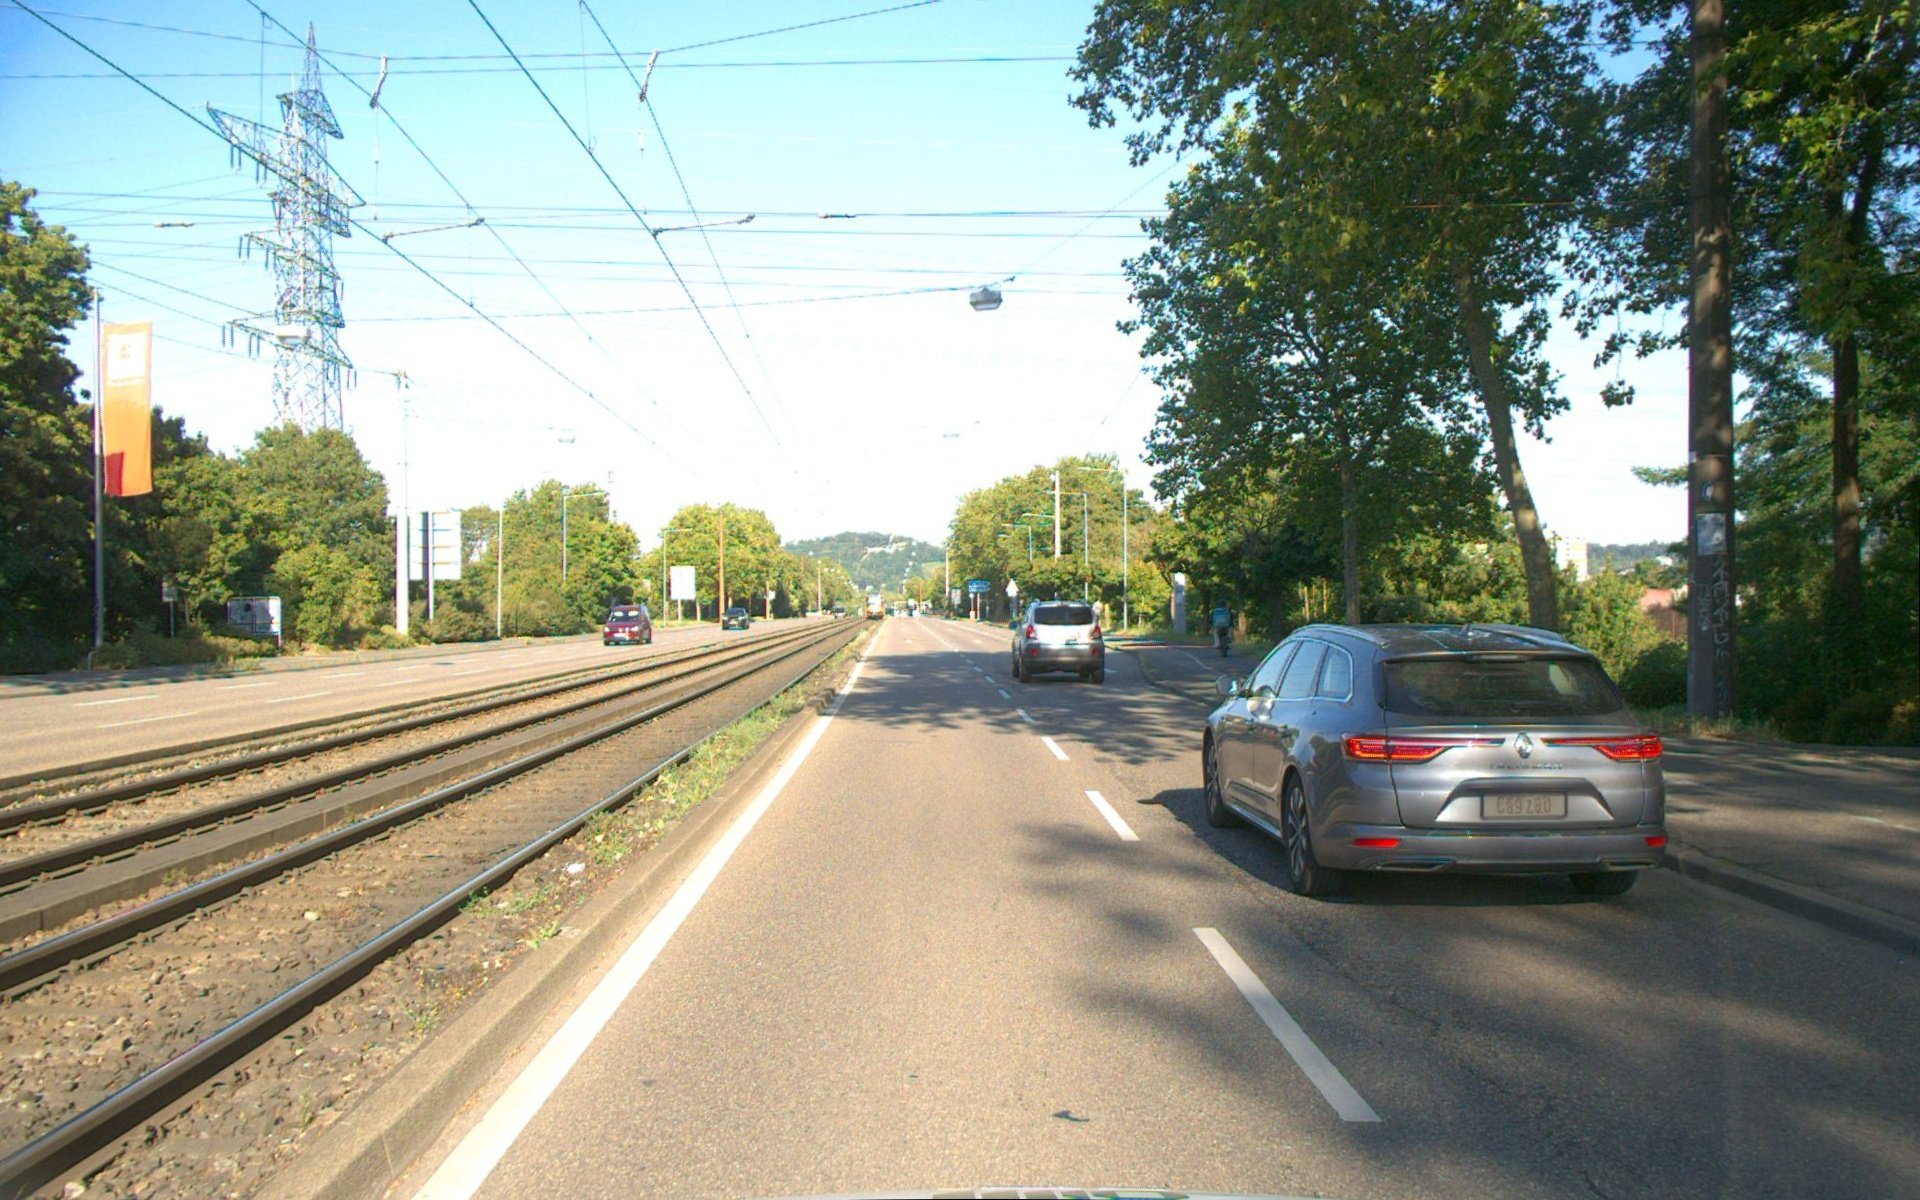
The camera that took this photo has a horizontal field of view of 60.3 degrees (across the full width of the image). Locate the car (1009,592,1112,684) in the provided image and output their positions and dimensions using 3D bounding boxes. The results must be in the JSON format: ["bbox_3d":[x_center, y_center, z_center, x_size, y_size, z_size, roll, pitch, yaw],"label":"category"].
[{"bbox_3d":[2.149,0.787,36.304,1.845,1.827,3.999,2,0,-2],"label":"car"}]

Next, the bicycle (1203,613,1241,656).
[{"bbox_3d":[7.393,0.968,46.667,0.778,1.113,1.895,-3,0,2],"label":"bicycle"}]

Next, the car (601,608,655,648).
[{"bbox_3d":[-15.544,1.273,77.509,1.825,1.750,3.999,0,1,-2],"label":"car"}]

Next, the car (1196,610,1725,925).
[{"bbox_3d":[2.731,0.812,10.248,1.828,1.493,4.665,0,0,-1],"label":"car"}]

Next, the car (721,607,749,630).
[{"bbox_3d":[-17.640,1.447,129.909,1.867,1.672,3.997,2,0,-4],"label":"car"}]

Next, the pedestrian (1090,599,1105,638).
[{"bbox_3d":[6.908,0.930,83.069,0.613,1.904,0.623,2,0,-2],"label":"pedestrian"}]

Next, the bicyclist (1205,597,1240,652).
[{"bbox_3d":[7.380,0.682,46.567,0.778,1.485,1.112,-3,0,2],"label":"bicyclist"}]
